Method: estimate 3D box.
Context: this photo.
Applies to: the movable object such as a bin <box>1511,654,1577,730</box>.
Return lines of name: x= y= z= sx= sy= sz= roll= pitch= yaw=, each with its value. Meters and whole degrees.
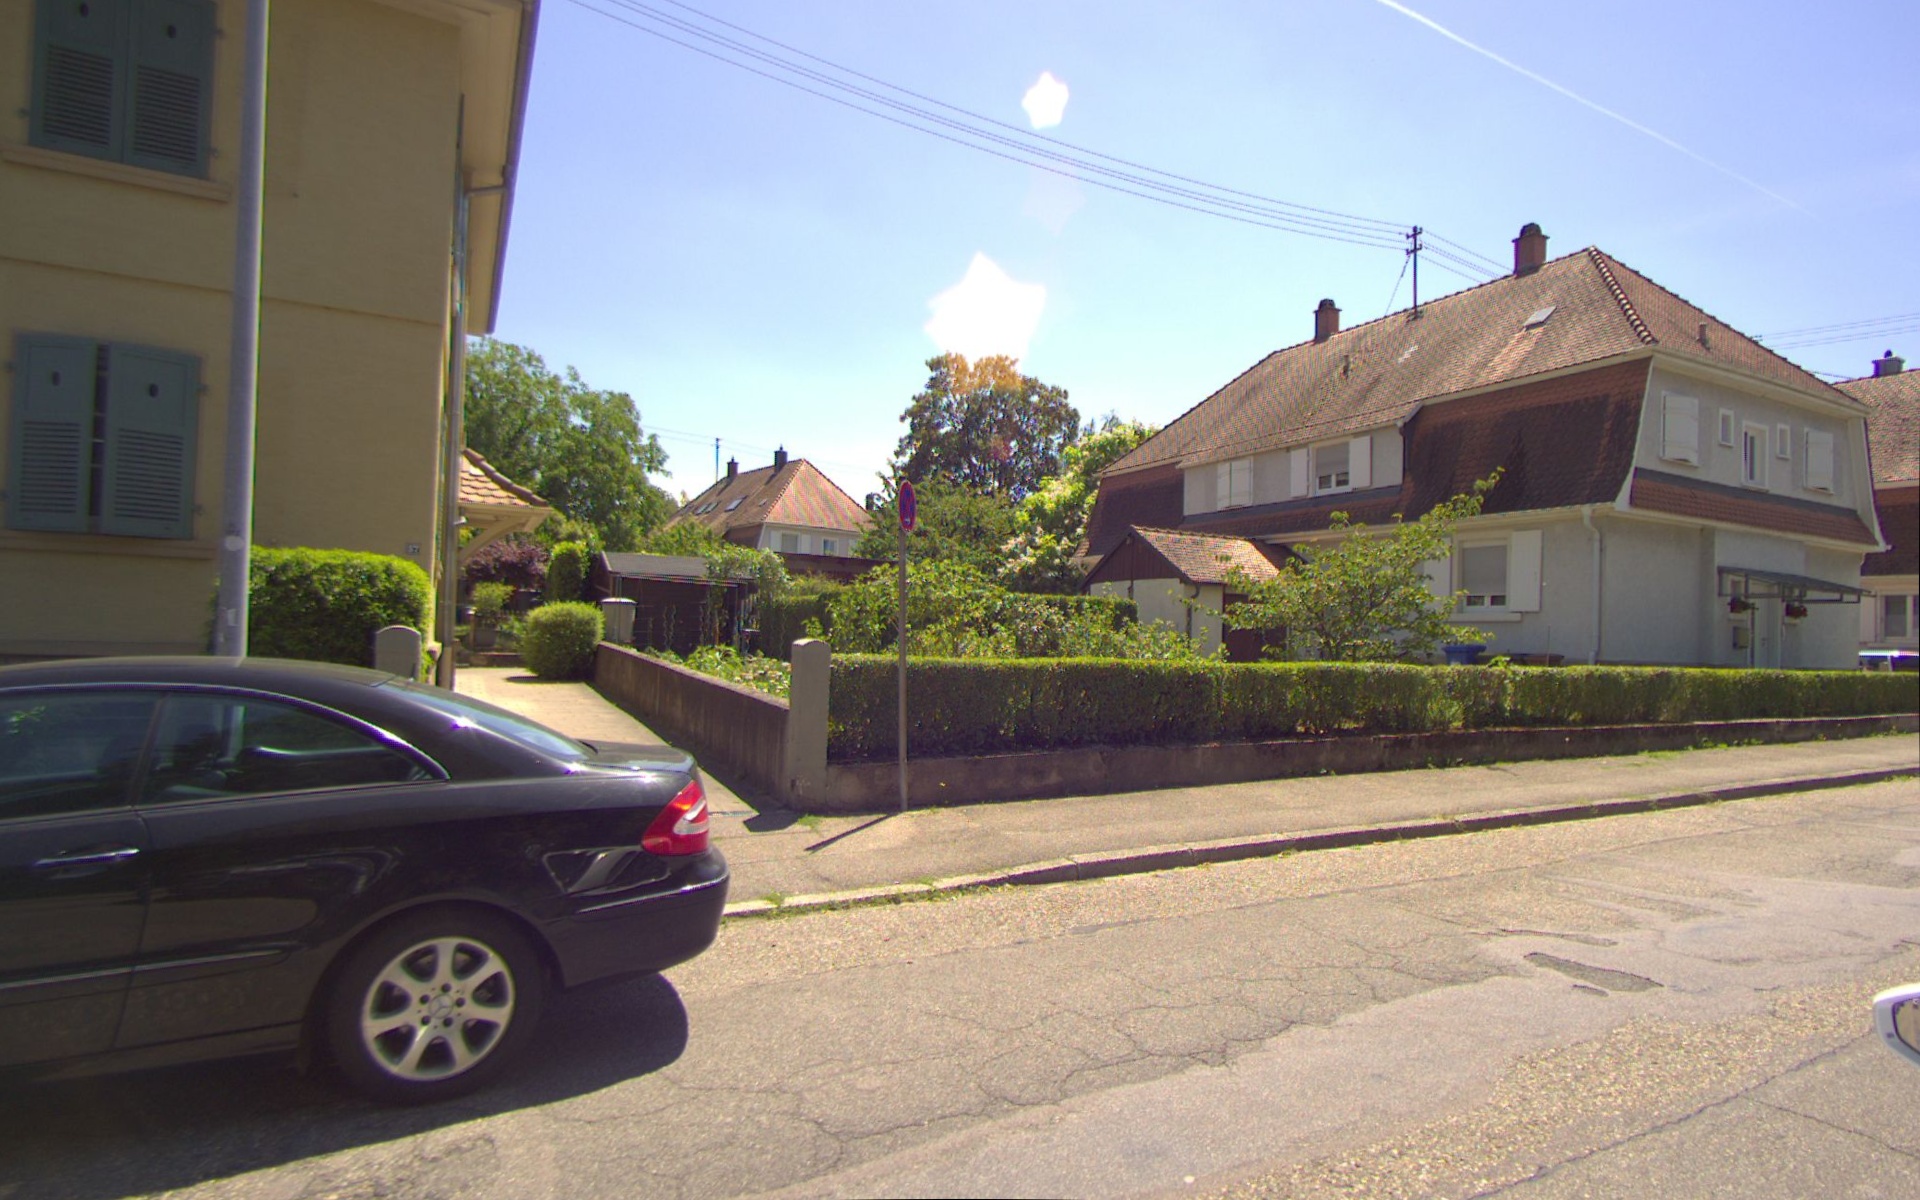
movable object such as a bin: x=10.779 y=1.684 z=18.539 sx=0.909 sy=1.339 sz=0.686 roll=2 pitch=-2 yaw=-30

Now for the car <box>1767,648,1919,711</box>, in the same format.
car: x=26.068 y=2.240 z=29.037 sx=1.856 sy=1.663 sz=3.853 roll=2 pitch=-3 yaw=-27

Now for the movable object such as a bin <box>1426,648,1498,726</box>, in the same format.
movable object such as a bin: x=9.993 y=1.716 z=19.994 sx=0.997 sy=1.492 sz=0.873 roll=2 pitch=-2 yaw=-30

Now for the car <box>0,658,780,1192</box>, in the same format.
car: x=-2.954 y=0.902 z=3.403 sx=4.325 sy=1.404 sz=1.660 roll=2 pitch=-3 yaw=-28

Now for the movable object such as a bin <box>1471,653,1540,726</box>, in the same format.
movable object such as a bin: x=10.443 y=1.700 z=19.235 sx=0.909 sy=1.339 sz=0.815 roll=2 pitch=-2 yaw=-30

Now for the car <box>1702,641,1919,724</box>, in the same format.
car: x=21.725 y=2.036 z=25.813 sx=1.856 sy=1.930 sz=3.853 roll=2 pitch=-3 yaw=-27
